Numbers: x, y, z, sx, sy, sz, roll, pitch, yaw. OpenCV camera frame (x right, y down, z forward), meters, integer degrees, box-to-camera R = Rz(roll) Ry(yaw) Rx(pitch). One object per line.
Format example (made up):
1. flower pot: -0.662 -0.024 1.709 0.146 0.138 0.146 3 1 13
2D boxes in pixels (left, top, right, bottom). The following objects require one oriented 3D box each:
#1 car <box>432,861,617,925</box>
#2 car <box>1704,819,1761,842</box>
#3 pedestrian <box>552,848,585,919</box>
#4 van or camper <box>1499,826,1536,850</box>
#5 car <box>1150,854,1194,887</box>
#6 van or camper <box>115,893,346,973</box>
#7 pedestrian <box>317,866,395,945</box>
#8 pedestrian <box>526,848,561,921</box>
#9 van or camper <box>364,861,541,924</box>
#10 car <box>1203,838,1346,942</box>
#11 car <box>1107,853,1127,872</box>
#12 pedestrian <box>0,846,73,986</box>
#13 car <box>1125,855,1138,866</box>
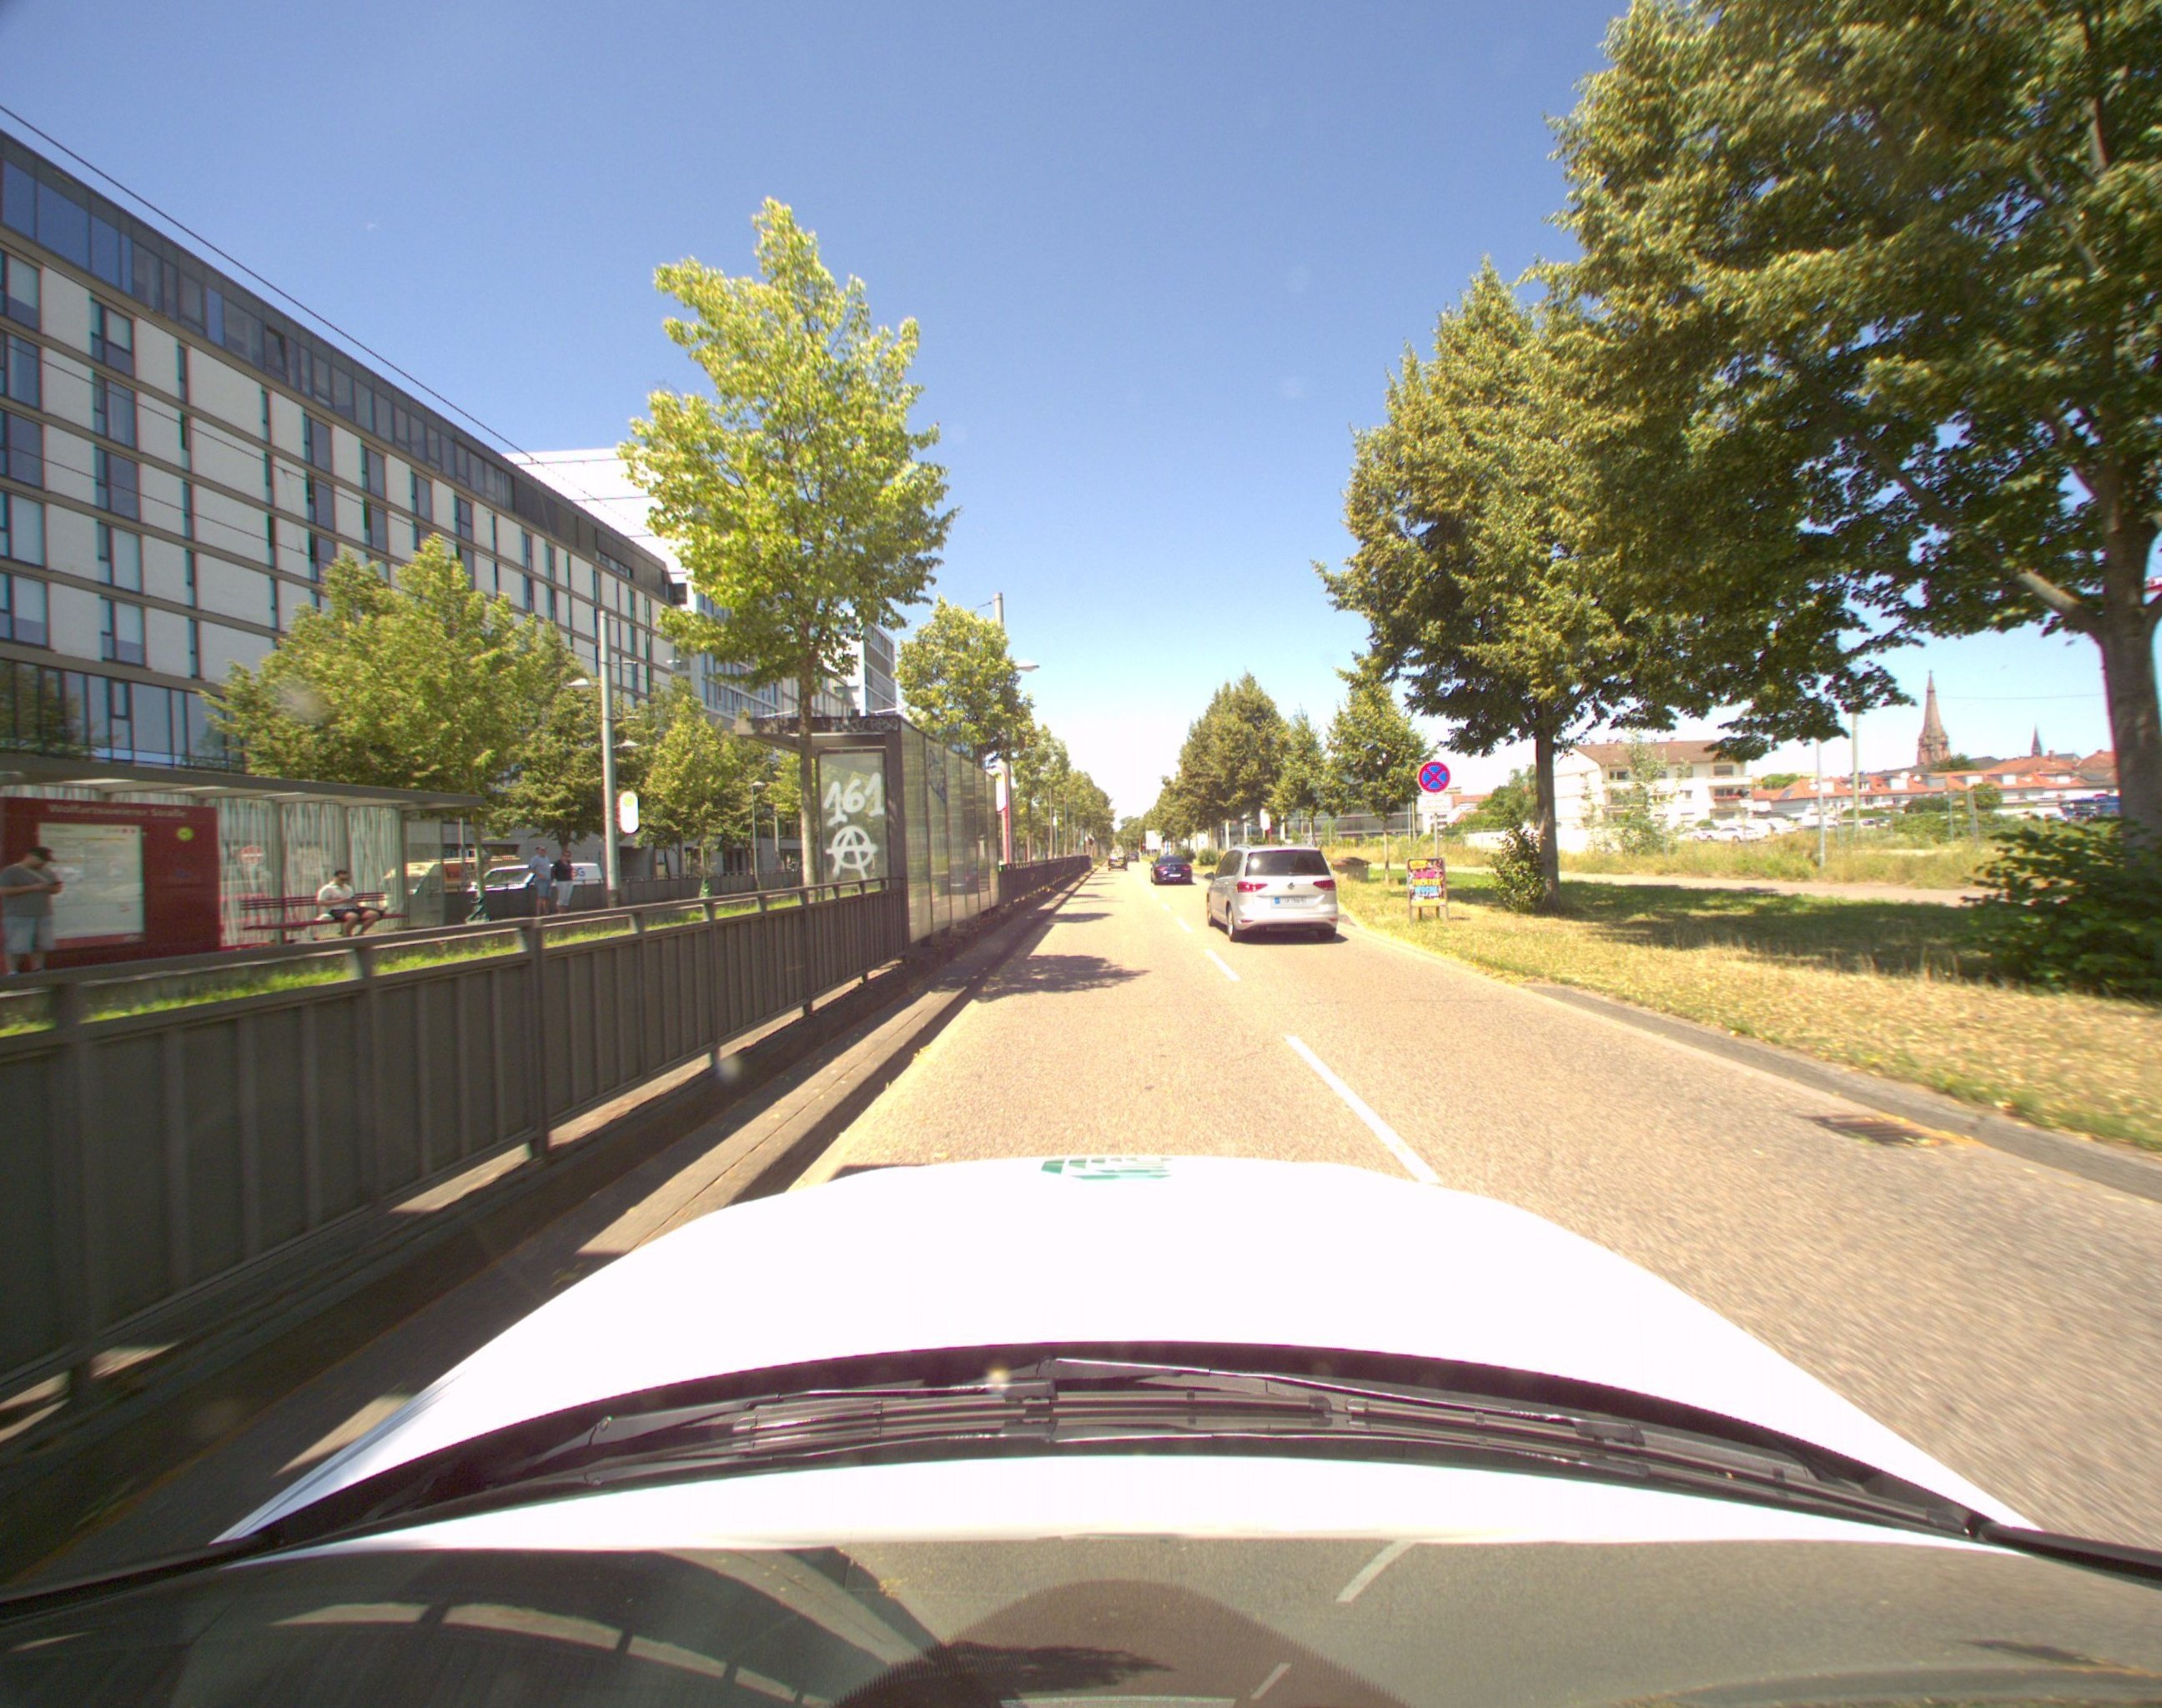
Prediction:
1. car: -18.266 1.208 27.150 2.452 1.806 5.074 -2 0 3
2. car: 53.873 -1.912 67.427 1.671 1.586 3.618 -3 -2 -2
3. pedestrian: -12.967 0.747 20.604 0.408 1.752 0.586 -2 -1 -1
4. van or camper: 54.365 -1.947 101.515 1.988 2.802 4.658 -2 0 -2
5. car: 4.334 0.751 39.415 1.844 1.436 4.960 -2 -1 4
6. van or camper: -18.869 1.690 18.296 1.470 1.427 3.430 -2 0 2
7. pedestrian: -13.514 0.940 15.193 0.831 1.413 0.642 -2 -1 1
8. pedestrian: -13.094 0.733 19.835 0.408 1.752 0.586 -2 -1 -1
9. van or camper: -26.966 1.536 35.404 2.168 2.386 6.775 -2 0 2
10. car: 3.416 0.588 15.235 1.793 1.649 4.608 0 0 3
11. car: 3.033 0.727 68.716 1.612 1.451 3.988 -3 -1 2
12. pedestrian: -13.502 0.779 10.486 0.468 1.739 0.474 -2 -1 -27
13. car: 7.649 1.045 124.084 1.760 1.627 3.716 -2 -1 1
